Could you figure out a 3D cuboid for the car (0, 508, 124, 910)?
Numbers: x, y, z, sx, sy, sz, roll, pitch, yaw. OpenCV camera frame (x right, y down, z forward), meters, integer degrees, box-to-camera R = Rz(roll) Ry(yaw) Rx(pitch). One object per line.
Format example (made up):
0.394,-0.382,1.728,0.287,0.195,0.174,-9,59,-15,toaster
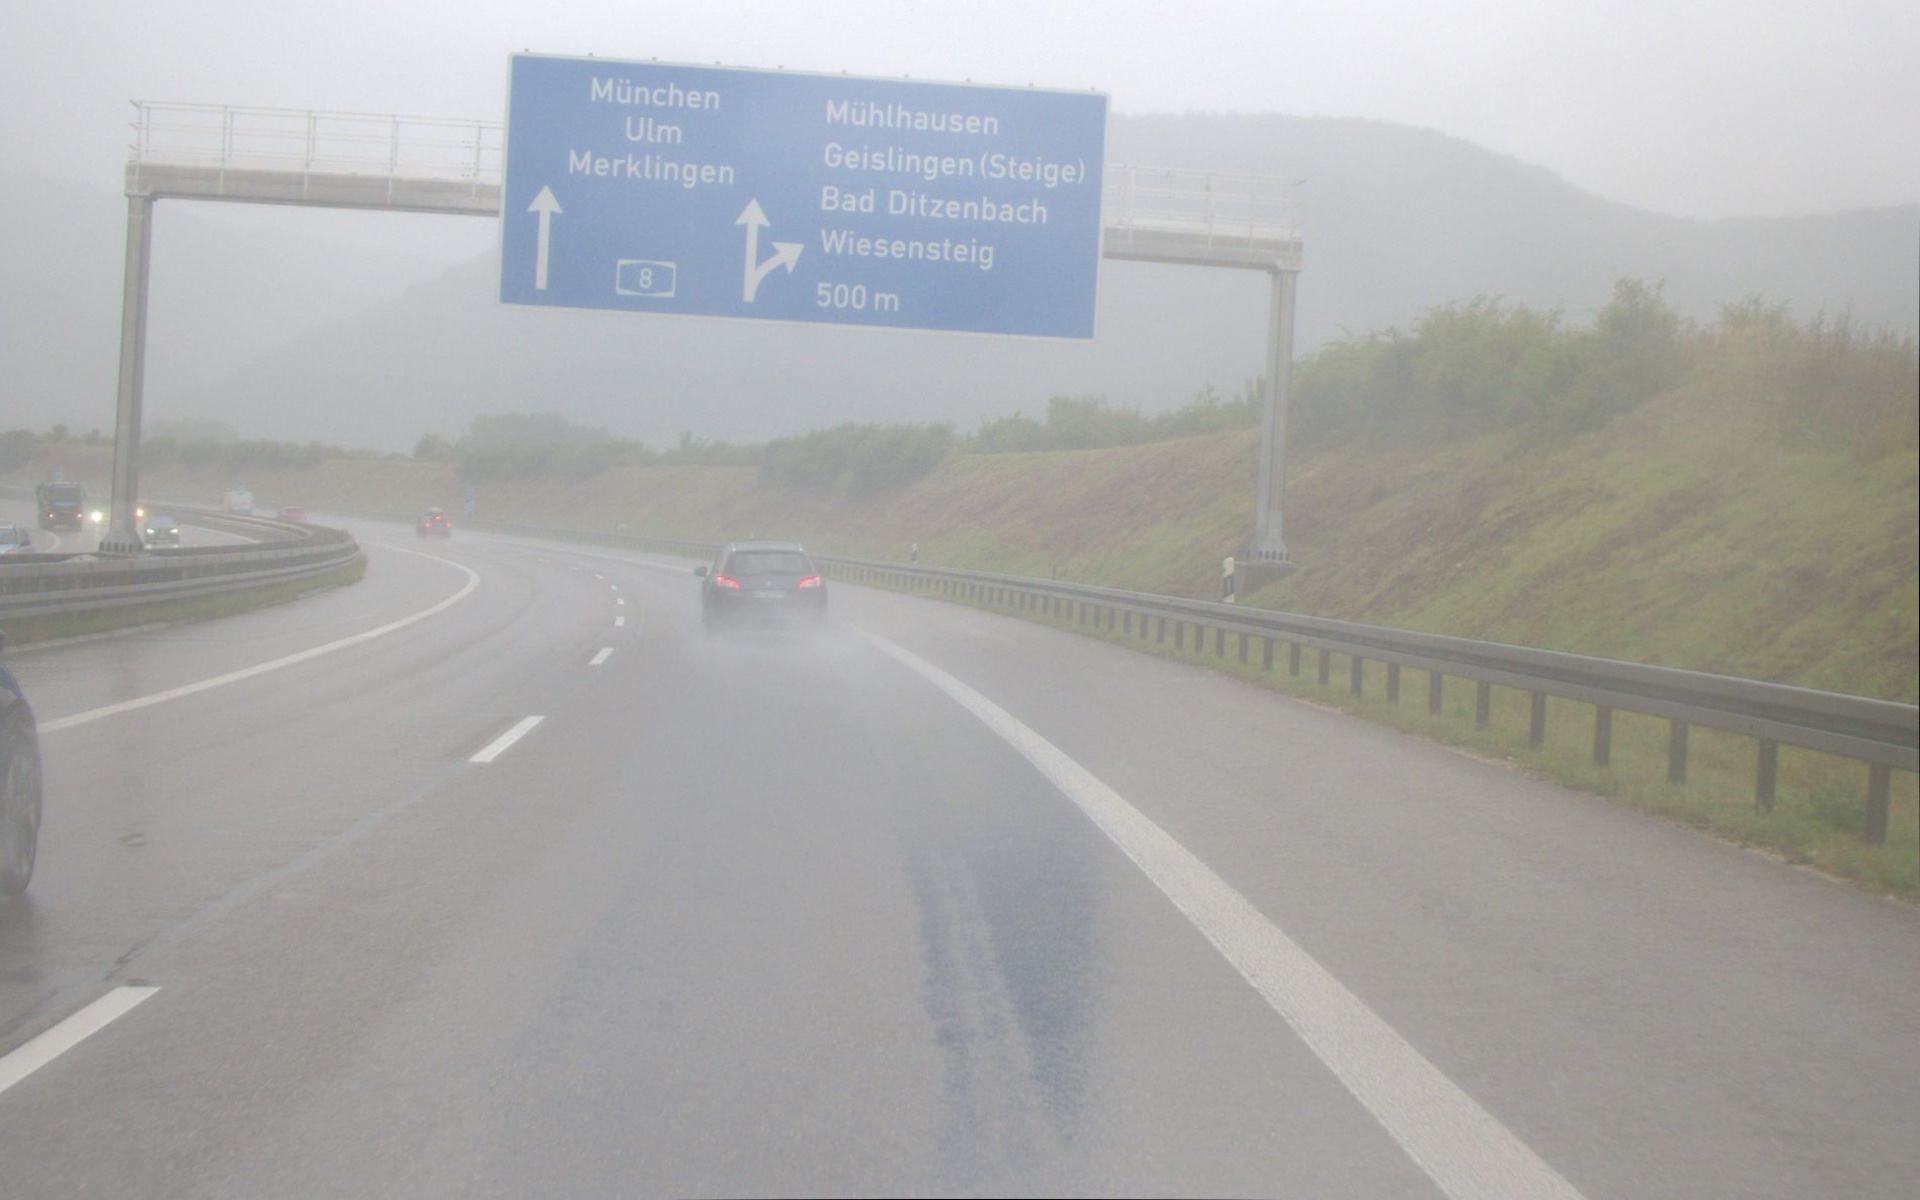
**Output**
-4.794,0.378,12.893,2.405,1.510,4.785,2,1,-4,car

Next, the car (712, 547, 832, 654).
-2.777,-0.020,51.135,1.679,1.467,3.815,2,1,-3,car

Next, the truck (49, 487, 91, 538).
-63.045,-6.179,243.533,2.715,3.530,5.312,0,1,-13,truck

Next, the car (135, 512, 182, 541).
-45.266,-4.136,194.209,1.993,1.514,4.001,2,0,-5,car
